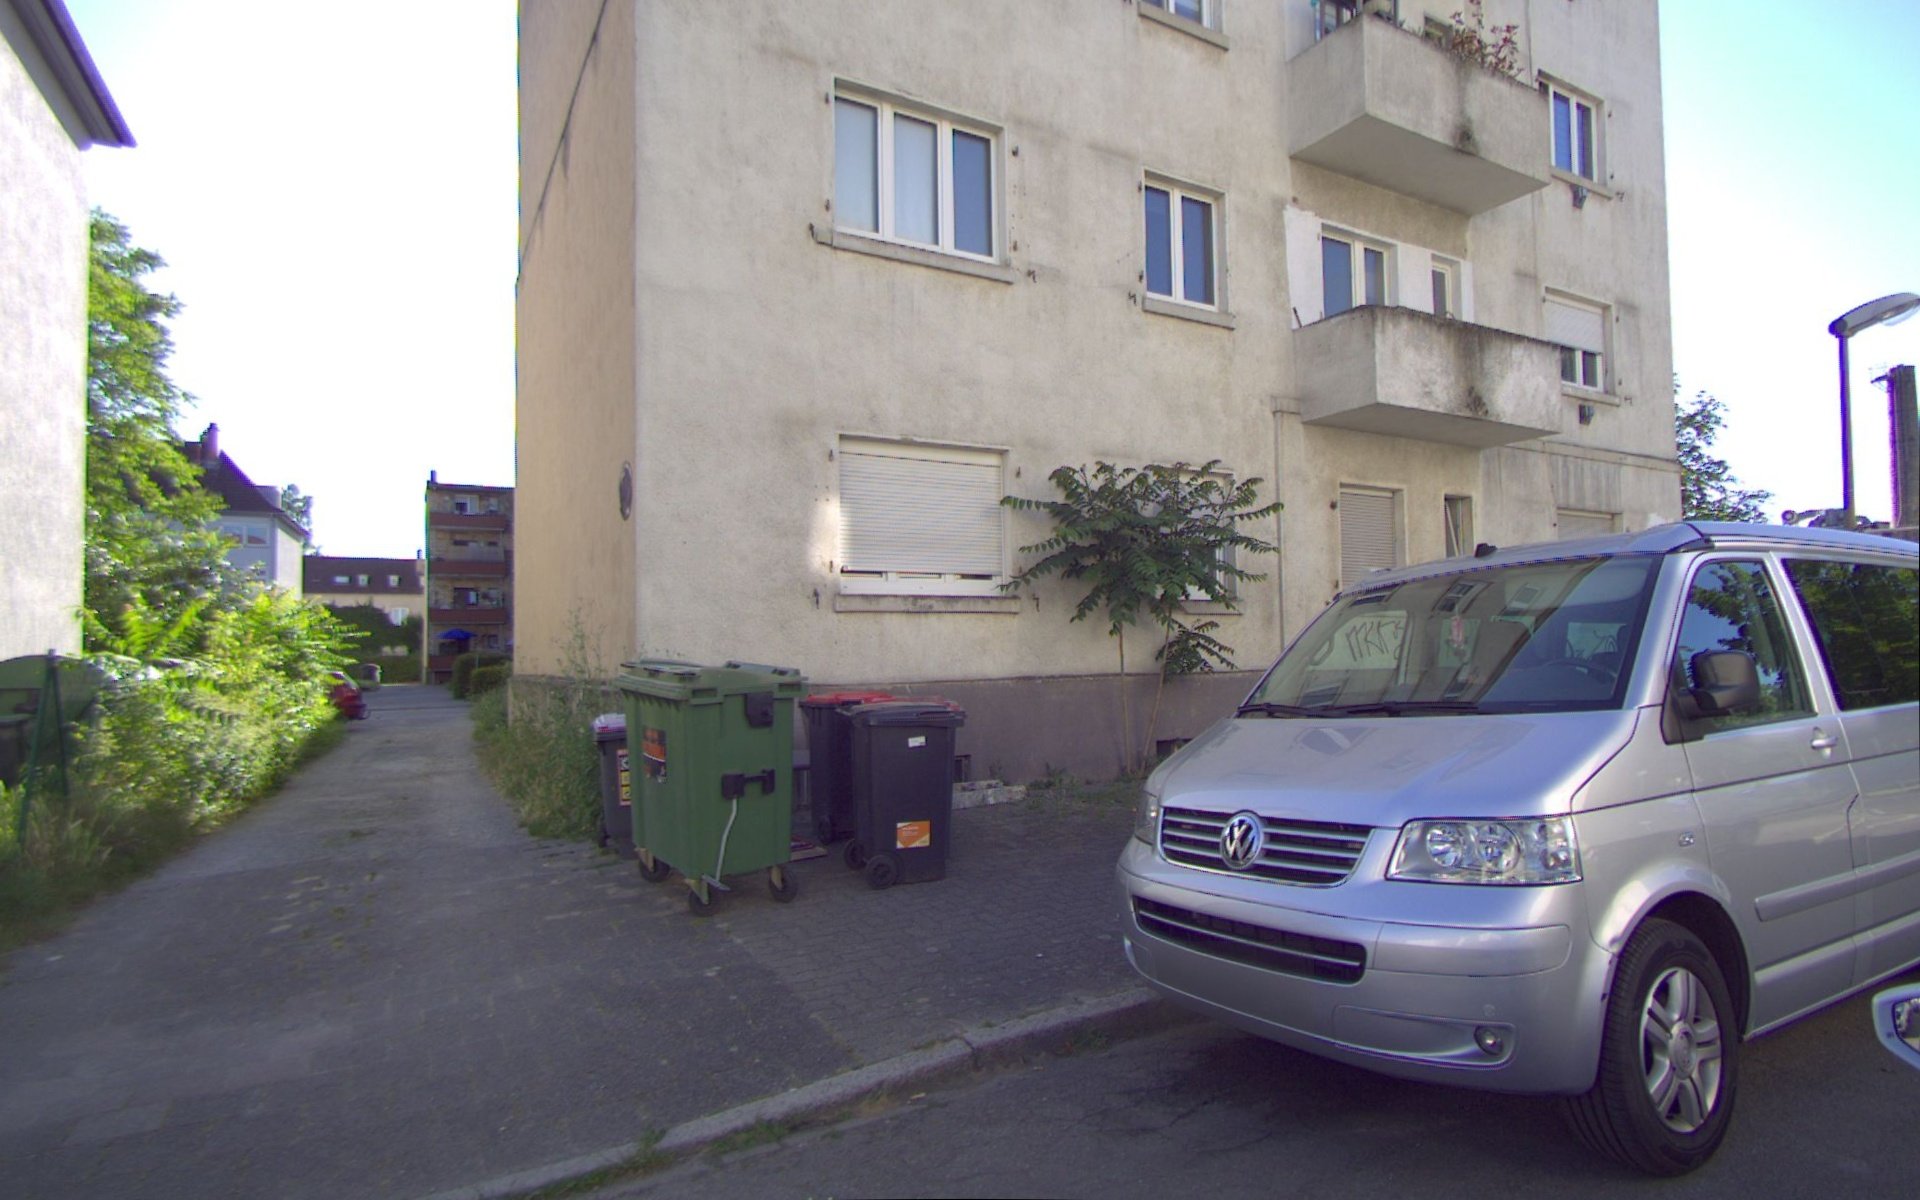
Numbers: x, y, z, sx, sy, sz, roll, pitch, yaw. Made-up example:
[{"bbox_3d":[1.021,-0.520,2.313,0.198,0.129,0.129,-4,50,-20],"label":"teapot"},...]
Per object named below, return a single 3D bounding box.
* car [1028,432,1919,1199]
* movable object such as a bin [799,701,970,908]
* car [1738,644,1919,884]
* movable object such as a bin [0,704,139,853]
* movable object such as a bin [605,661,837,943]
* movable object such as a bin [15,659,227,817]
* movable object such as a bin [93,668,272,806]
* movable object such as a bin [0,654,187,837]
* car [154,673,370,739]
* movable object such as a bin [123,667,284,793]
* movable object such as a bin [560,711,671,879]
[{"bbox_3d":[2.842,0.697,4.366,4.800,1.958,1.942,1,-5,-31],"label":"car"},{"bbox_3d":[-0.480,1.207,6.217,0.806,1.093,0.769,1,-2,-30],"label":"movable object such as a bin"},{"bbox_3d":[7.498,1.044,7.187,3.676,1.477,1.680,1,-5,-29],"label":"car"},{"bbox_3d":[-7.112,1.320,7.585,1.189,1.012,1.125,2,-5,-29],"label":"movable object such as a bin"},{"bbox_3d":[-1.447,1.081,5.943,1.032,1.395,1.250,1,-2,-30],"label":"movable object such as a bin"},{"bbox_3d":[-8.488,1.347,10.276,1.419,1.475,1.125,2,-4,-29],"label":"movable object such as a bin"},{"bbox_3d":[-8.882,1.522,11.580,1.419,1.465,1.125,2,-4,-29],"label":"movable object such as a bin"},{"bbox_3d":[-7.670,1.204,8.635,1.419,1.452,1.125,2,-4,-29],"label":"movable object such as a bin"},{"bbox_3d":[-16.000,2.423,23.290,3.953,1.327,1.477,1,-5,-30],"label":"car"},{"bbox_3d":[-9.428,1.582,12.616,1.419,1.465,1.125,2,-4,-29],"label":"movable object such as a bin"},{"bbox_3d":[-2.355,1.288,6.836,0.584,0.987,0.769,1,-2,-29],"label":"movable object such as a bin"}]
